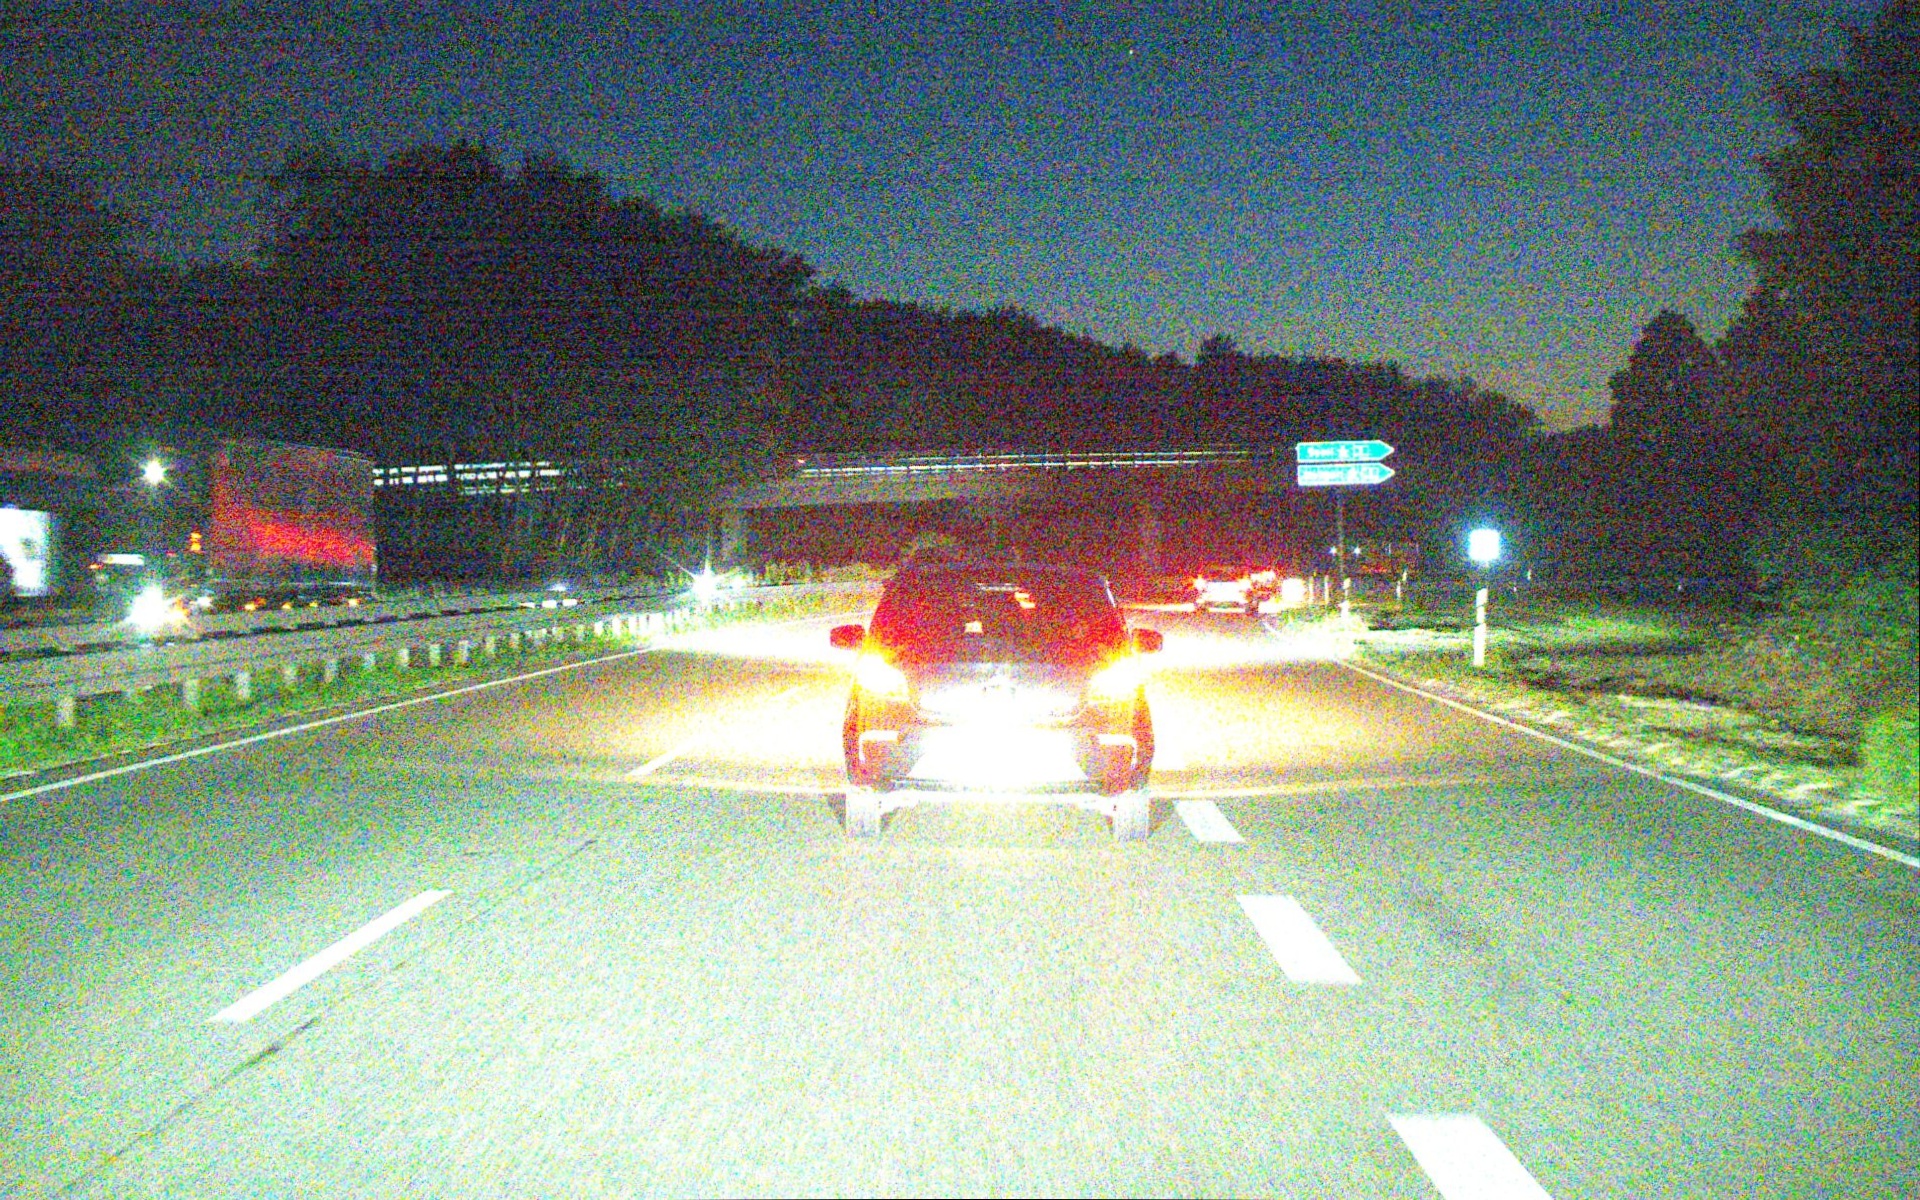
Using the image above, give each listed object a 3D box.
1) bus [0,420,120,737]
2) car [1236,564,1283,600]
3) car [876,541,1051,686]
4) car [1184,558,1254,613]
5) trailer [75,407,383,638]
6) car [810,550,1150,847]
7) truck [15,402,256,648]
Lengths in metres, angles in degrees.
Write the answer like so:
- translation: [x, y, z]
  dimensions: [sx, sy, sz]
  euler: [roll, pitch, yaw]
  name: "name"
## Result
- translation: [-11.746, -0.197, 35.280]
  dimensions: [2.923, 3.376, 12.307]
  euler: [0, 1, 2]
  name: "bus"
- translation: [14.609, -0.880, 167.815]
  dimensions: [1.951, 1.533, 4.241]
  euler: [-4, -1, 2]
  name: "car"
- translation: [0.058, 0.114, 40.799]
  dimensions: [1.940, 1.603, 4.643]
  euler: [1, 1, 0]
  name: "car"
- translation: [7.694, -0.439, 102.350]
  dimensions: [1.733, 1.612, 3.798]
  euler: [0, 0, -1]
  name: "car"
- translation: [-14.223, -1.503, 68.342]
  dimensions: [2.676, 4.135, 13.745]
  euler: [0, 1, 2]
  name: "trailer"
- translation: [0.129, 0.474, 19.284]
  dimensions: [1.691, 1.473, 4.000]
  euler: [1, 1, 1]
  name: "car"
- translation: [-14.566, -1.320, 61.176]
  dimensions: [2.676, 4.163, 5.868]
  euler: [0, 1, 2]
  name: "truck"
